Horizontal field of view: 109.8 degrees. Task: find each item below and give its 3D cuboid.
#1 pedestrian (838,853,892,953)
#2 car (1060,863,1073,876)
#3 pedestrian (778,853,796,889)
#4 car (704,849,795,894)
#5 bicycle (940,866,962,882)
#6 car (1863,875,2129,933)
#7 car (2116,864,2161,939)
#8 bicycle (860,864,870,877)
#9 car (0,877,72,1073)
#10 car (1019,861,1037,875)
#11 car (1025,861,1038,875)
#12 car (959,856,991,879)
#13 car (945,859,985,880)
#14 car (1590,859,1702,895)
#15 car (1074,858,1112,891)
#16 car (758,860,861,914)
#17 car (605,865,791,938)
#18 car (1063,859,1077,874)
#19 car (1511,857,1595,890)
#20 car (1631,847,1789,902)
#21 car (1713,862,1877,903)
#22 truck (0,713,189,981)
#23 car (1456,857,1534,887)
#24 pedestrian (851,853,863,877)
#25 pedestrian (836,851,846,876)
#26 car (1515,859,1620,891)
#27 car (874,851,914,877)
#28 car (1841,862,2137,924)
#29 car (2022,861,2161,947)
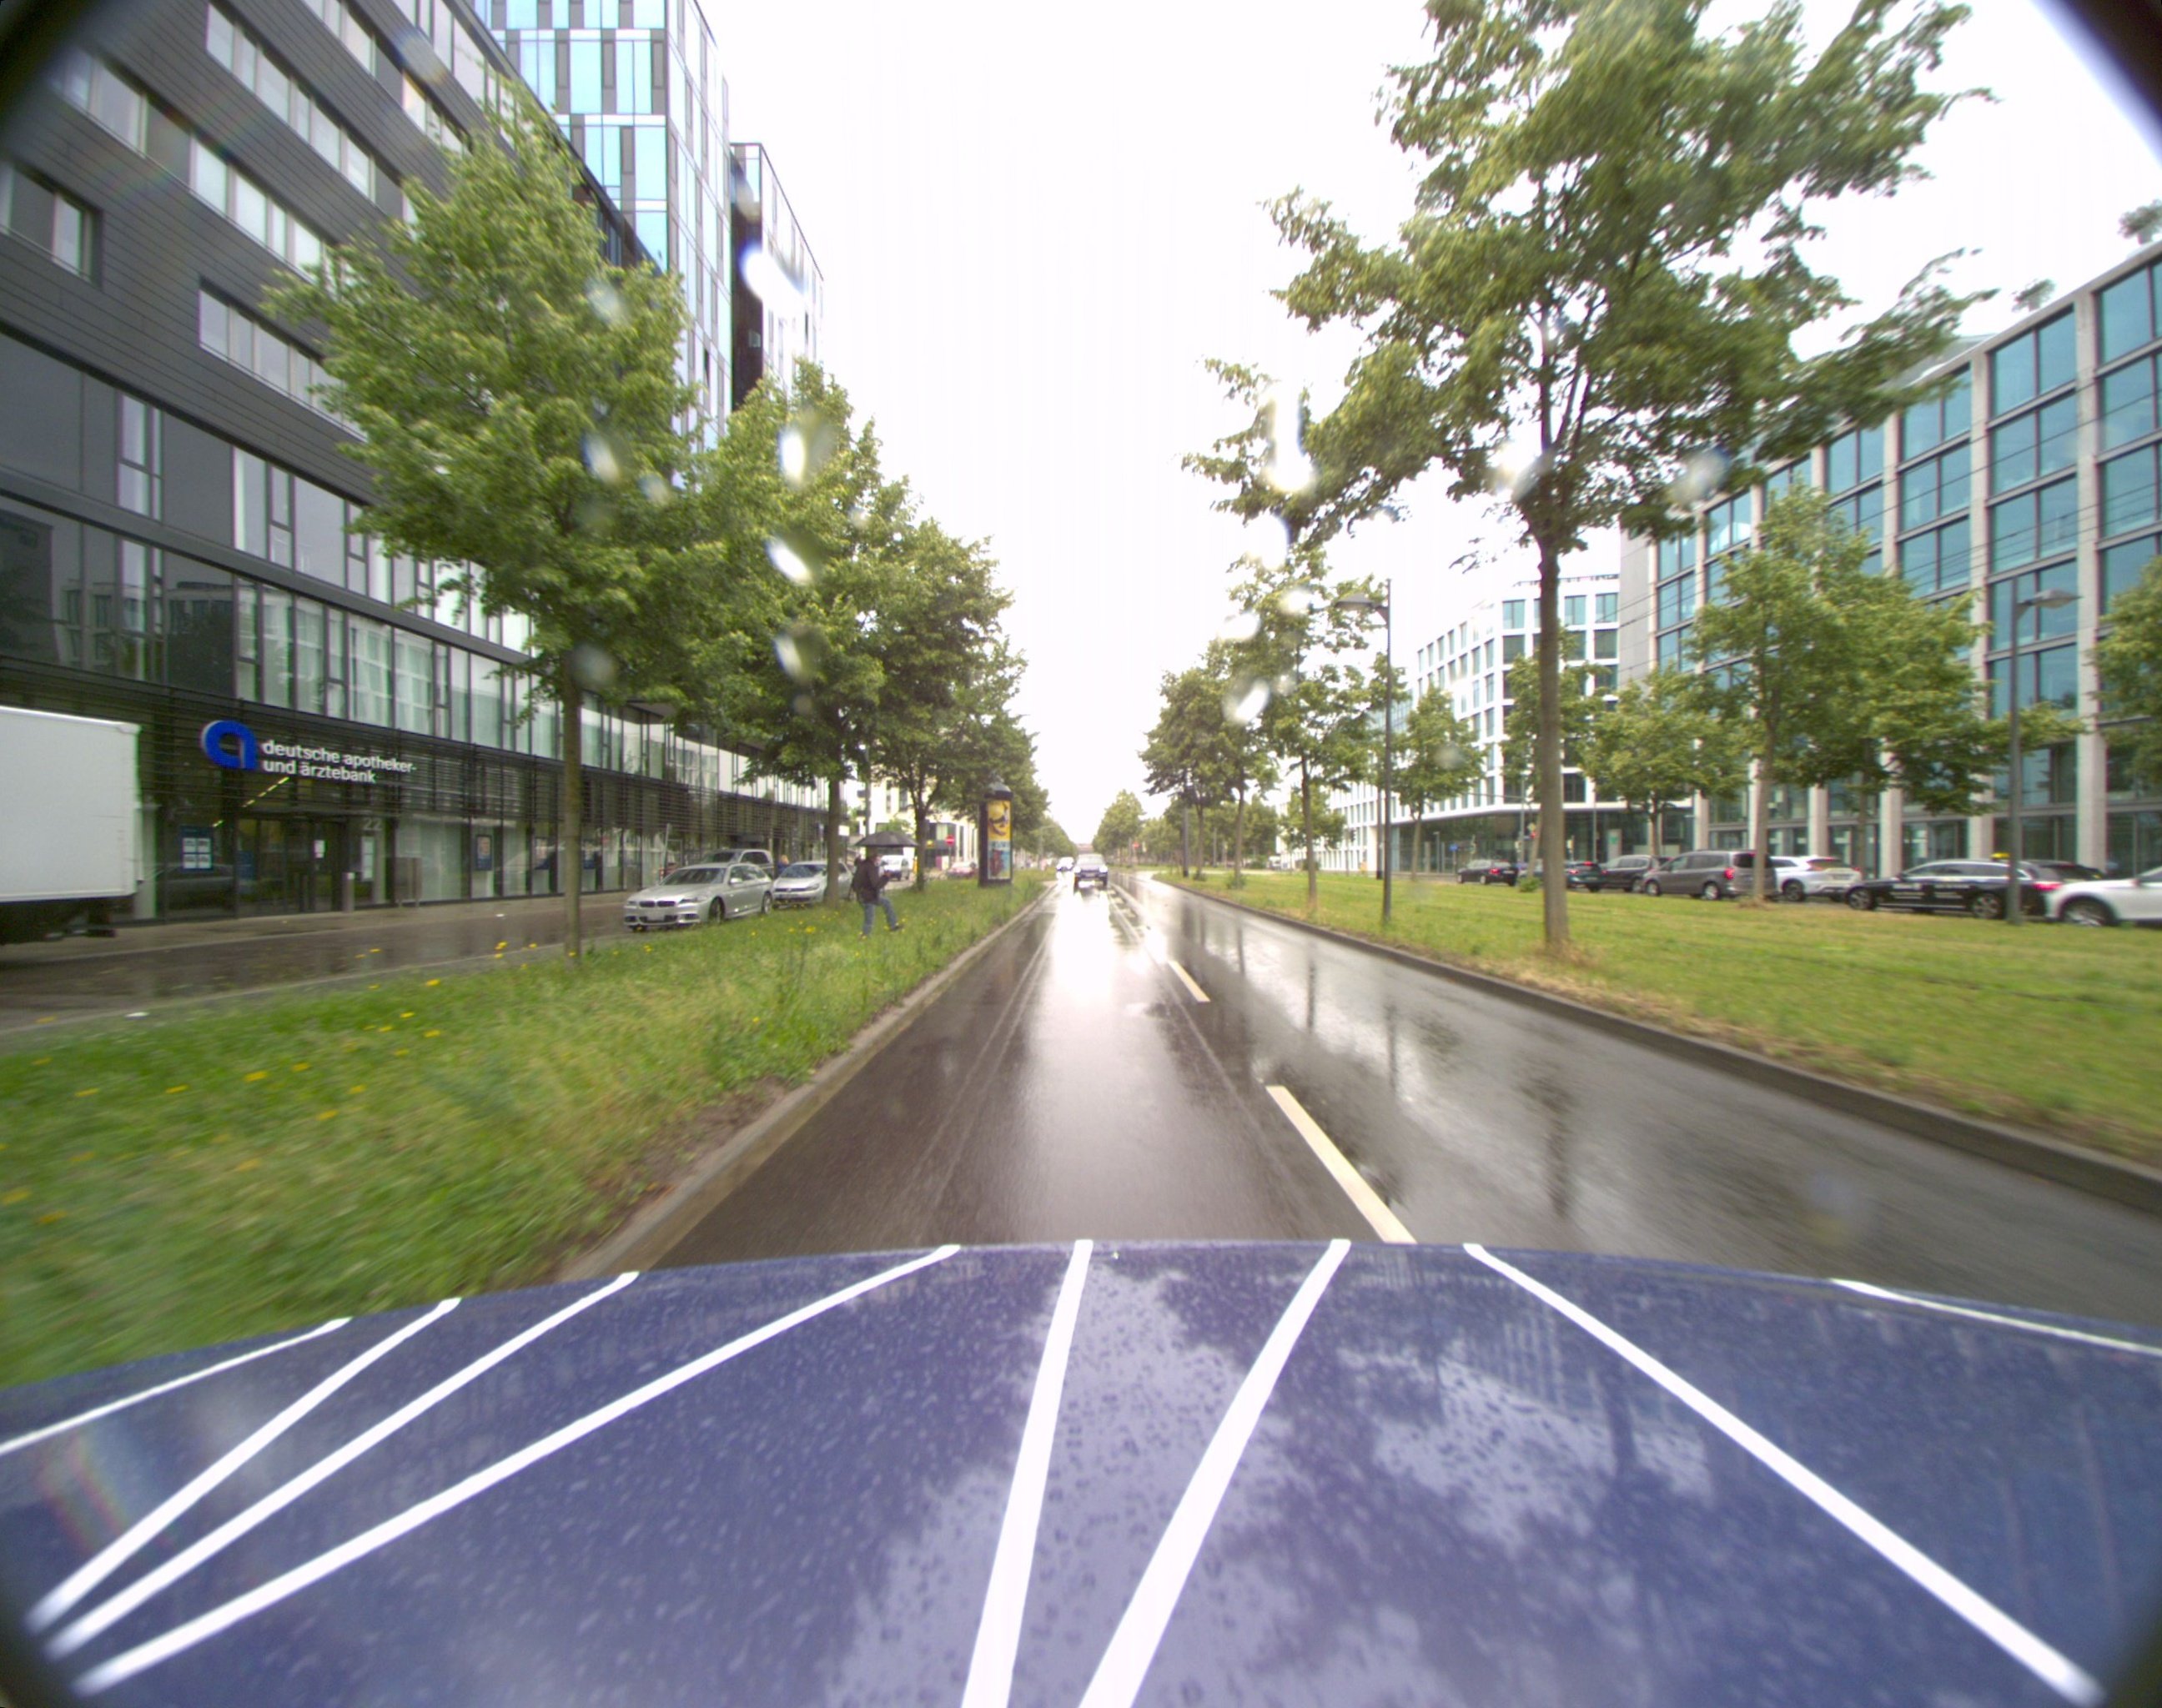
[{"bbox_3d":[-3.326,0.737,11.751,0.643,1.484,0.700,0,0,-1],"label":"pedestrian"},{"bbox_3d":[-1.909,2.030,98.690,1.687,1.520,3.970,0,-2,-1],"label":"car"},{"bbox_3d":[-14.349,0.832,37.059,0.581,1.728,0.803,-1,-2,-2],"label":"pedestrian"},{"bbox_3d":[-14.977,0.743,34.662,1.999,1.909,5.148,0,0,-2],"label":"car"},{"bbox_3d":[-8.045,1.243,46.962,1.458,0.911,0.434,-2,-2,33],"label":"bicycle"},{"bbox_3d":[25.493,1.355,21.503,1.863,1.437,4.626,0,-2,-1],"label":"car"},{"bbox_3d":[25.933,1.027,15.958,1.956,1.735,4.635,0,-2,-1],"label":"car"},{"bbox_3d":[-15.429,1.190,54.305,0.437,0.892,1.232,0,-2,-4],"label":"bicycle"},{"bbox_3d":[-8.898,0.989,3.644,1.774,1.443,4.722,-4,1,-2],"label":"car"},{"bbox_3d":[-7.098,1.910,102.116,1.999,1.697,4.840,0,-2,0],"label":"car"},{"bbox_3d":[-7.518,2.066,114.142,1.916,2.001,4.000,0,-2,-4],"label":"car"},{"bbox_3d":[-8.495,1.132,61.057,1.999,1.697,4.219,0,-2,0],"label":"car"},{"bbox_3d":[-8.291,1.106,54.759,1.998,1.446,4.960,0,0,1],"label":"car"},{"bbox_3d":[26.055,1.082,35.249,1.956,1.530,4.273,0,-2,-1],"label":"car"},{"bbox_3d":[0.686,1.069,40.922,1.928,1.650,4.716,0,0,2],"label":"car"},{"bbox_3d":[-8.511,1.049,24.220,1.765,1.586,4.102,0,-2,1],"label":"car"},{"bbox_3d":[-8.957,1.021,18.416,1.999,1.436,5.236,-1,0,-2],"label":"car"},{"bbox_3d":[-1.508,1.697,103.469,1.757,1.913,4.002,0,-2,1],"label":"car"},{"bbox_3d":[25.962,1.025,41.968,1.956,1.684,4.271,0,0,-1],"label":"car"},{"bbox_3d":[22.604,0.733,27.579,1.956,1.837,4.544,0,-1,0],"label":"car"},{"bbox_3d":[26.062,1.044,27.978,1.956,1.377,4.273,0,-2,-1],"label":"car"},{"bbox_3d":[-15.240,-0.088,7.457,3.033,3.421,8.546,-1,0,-2],"label":"truck"},{"bbox_3d":[22.942,1.022,42.312,1.956,1.549,4.465,0,-2,0],"label":"car"},{"bbox_3d":[-15.961,0.785,54.152,0.627,1.694,0.657,0,-2,-5],"label":"pedestrian"},{"bbox_3d":[-17.664,0.671,55.969,0.508,1.821,0.575,1,-2,-36],"label":"pedestrian"},{"bbox_3d":[22.316,1.016,35.106,1.956,1.377,4.474,0,-2,-1],"label":"car"},{"bbox_3d":[-13.665,0.735,55.717,1.898,1.854,4.723,0,-1,-2],"label":"car"},{"bbox_3d":[22.615,0.958,19.298,1.956,1.377,4.606,0,-2,0],"label":"car"},{"bbox_3d":[19.601,0.864,12.765,1.955,1.444,4.576,-1,0,1],"label":"car"}]
